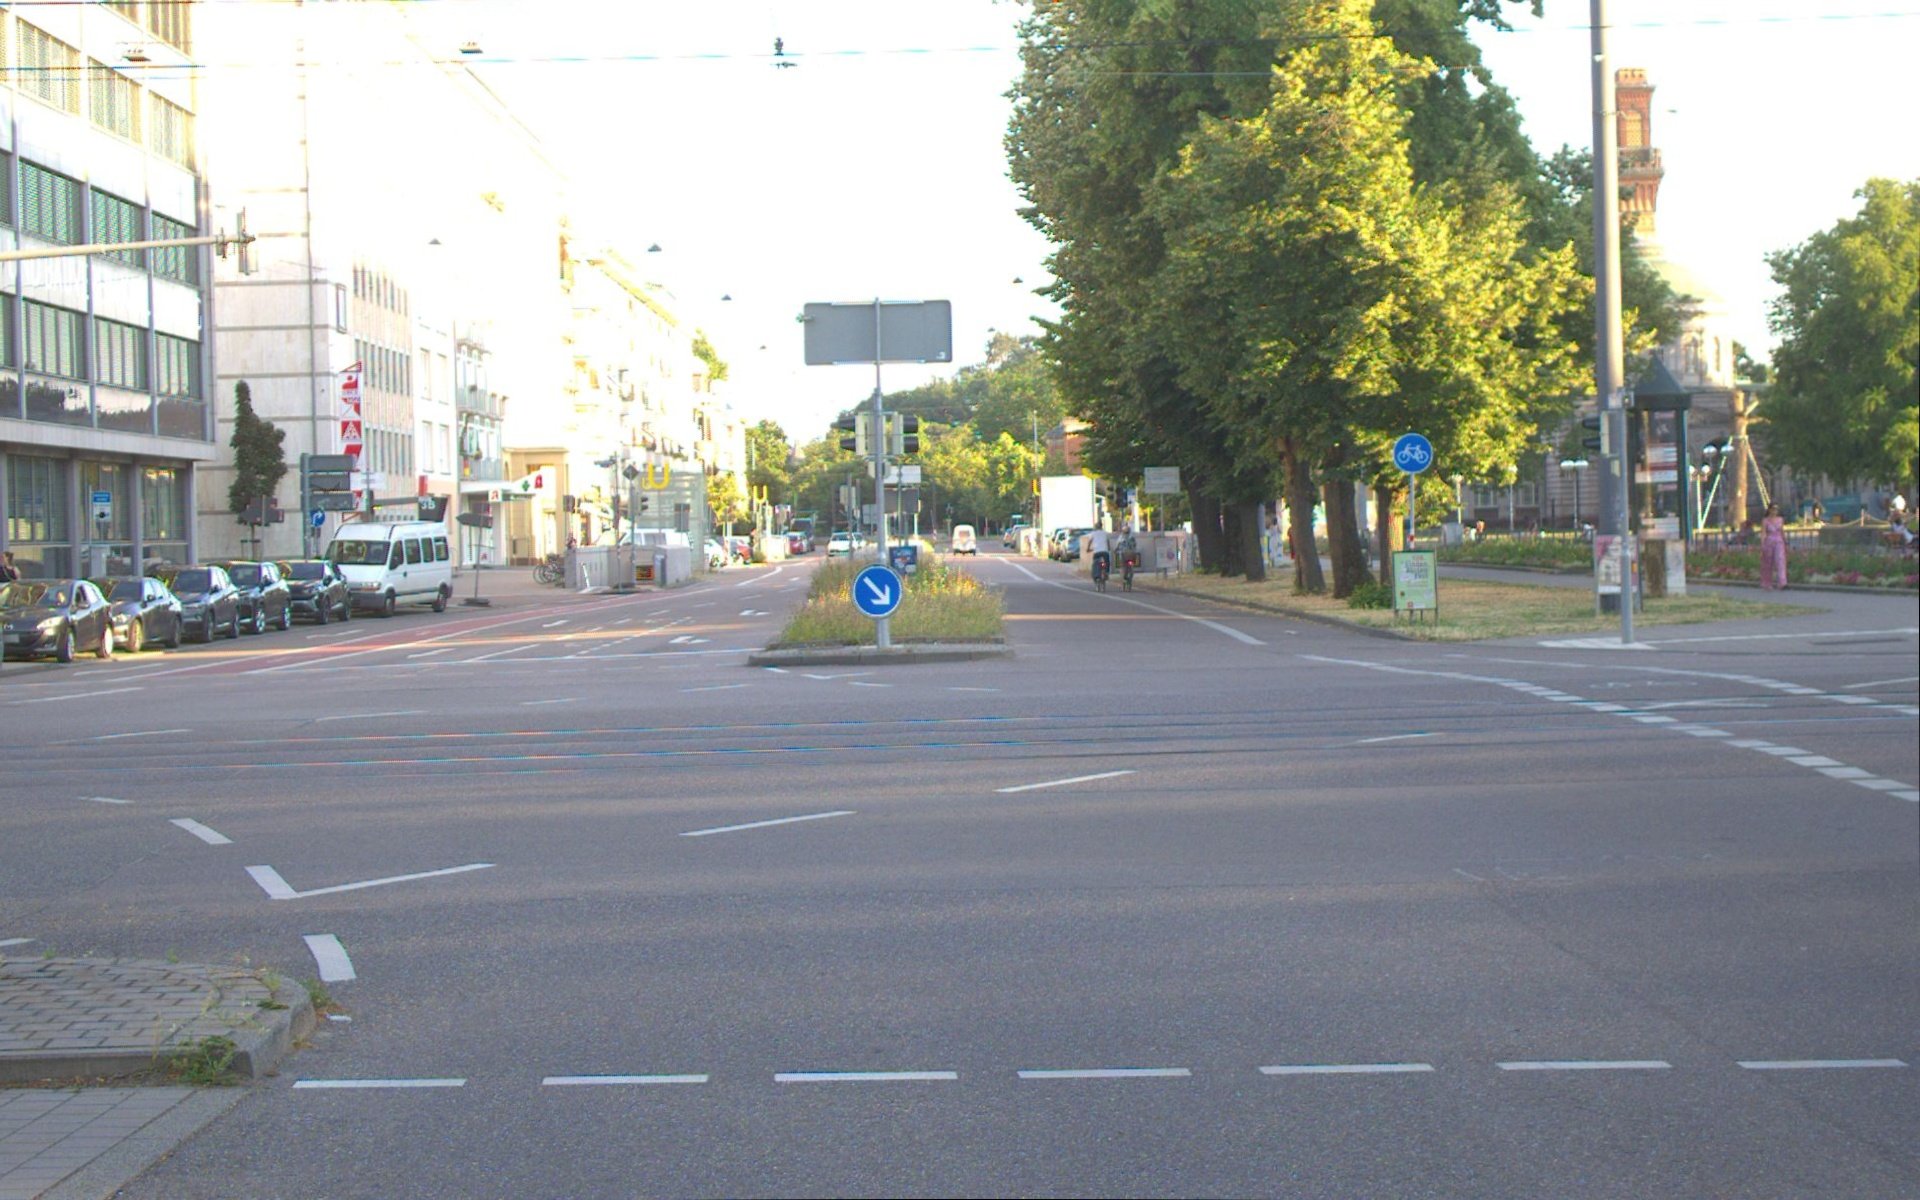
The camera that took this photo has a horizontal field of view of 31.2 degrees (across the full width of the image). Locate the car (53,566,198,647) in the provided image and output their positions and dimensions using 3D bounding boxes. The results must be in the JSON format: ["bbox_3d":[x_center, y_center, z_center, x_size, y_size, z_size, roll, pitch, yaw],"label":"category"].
[{"bbox_3d":[-16.575,0.104,68.444,1.920,1.459,4.000,-2,1,-1],"label":"car"}]

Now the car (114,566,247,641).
[{"bbox_3d":[-16.579,0.056,73.259,1.920,1.459,4.000,-2,1,-1],"label":"car"}]

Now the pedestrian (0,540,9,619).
[{"bbox_3d":[-20.661,-0.431,73.460,0.500,1.673,0.500,-2,1,-1],"label":"pedestrian"}]

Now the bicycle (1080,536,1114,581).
[{"bbox_3d":[3.592,-1.089,90.132,0.746,1.140,2.505,-2,1,-1],"label":"bicycle"}]

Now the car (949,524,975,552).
[{"bbox_3d":[0.115,-3.640,201.660,1.408,1.636,4.000,-2,1,-2],"label":"car"}]

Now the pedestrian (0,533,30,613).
[{"bbox_3d":[-20.060,-0.579,72.776,0.551,1.673,0.500,-2,1,-1],"label":"pedestrian"}]

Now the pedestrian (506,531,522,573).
[{"bbox_3d":[-21.373,-2.291,164.743,0.680,2.007,0.545,-2,1,0],"label":"pedestrian"}]

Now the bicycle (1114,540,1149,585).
[{"bbox_3d":[4.495,-1.000,90.204,0.746,1.140,2.505,-2,1,-1],"label":"bicycle"}]

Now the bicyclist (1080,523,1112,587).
[{"bbox_3d":[3.557,-1.180,89.862,0.746,1.658,0.873,-2,1,-1],"label":"bicyclist"}]

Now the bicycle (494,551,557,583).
[{"bbox_3d":[-15.839,-1.217,125.462,2.205,1.108,0.619,-2,1,-2],"label":"bicycle"}]

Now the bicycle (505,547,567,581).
[{"bbox_3d":[-15.906,-1.358,128.890,2.205,1.232,0.839,-2,1,-2],"label":"bicycle"}]

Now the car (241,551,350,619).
[{"bbox_3d":[-16.359,-0.381,84.786,1.920,1.563,4.000,-2,1,-1],"label":"car"}]

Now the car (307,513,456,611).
[{"bbox_3d":[-15.299,-1.051,91.237,2.002,2.469,5.865,-1,1,10],"label":"car"}]

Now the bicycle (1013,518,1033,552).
[{"bbox_3d":[3.825,-3.913,207.768,1.002,2.007,4.000,-1,1,4],"label":"bicycle"}]

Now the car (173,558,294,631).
[{"bbox_3d":[-16.557,-0.147,78.560,1.920,1.563,4.000,-2,1,-1],"label":"car"}]

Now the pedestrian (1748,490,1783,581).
[{"bbox_3d":[14.782,-1.191,63.097,0.460,1.651,0.567,-1,1,-1],"label":"pedestrian"}]

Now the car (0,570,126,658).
[{"bbox_3d":[-16.485,0.235,61.948,1.920,1.459,4.103,-2,1,-1],"label":"car"}]

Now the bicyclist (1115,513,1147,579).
[{"bbox_3d":[4.481,-1.420,90.111,0.746,1.685,0.799,-2,1,-1],"label":"bicyclist"}]

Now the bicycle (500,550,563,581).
[{"bbox_3d":[-15.825,-1.280,126.936,2.205,1.108,0.689,-2,1,-2],"label":"bicycle"}]
